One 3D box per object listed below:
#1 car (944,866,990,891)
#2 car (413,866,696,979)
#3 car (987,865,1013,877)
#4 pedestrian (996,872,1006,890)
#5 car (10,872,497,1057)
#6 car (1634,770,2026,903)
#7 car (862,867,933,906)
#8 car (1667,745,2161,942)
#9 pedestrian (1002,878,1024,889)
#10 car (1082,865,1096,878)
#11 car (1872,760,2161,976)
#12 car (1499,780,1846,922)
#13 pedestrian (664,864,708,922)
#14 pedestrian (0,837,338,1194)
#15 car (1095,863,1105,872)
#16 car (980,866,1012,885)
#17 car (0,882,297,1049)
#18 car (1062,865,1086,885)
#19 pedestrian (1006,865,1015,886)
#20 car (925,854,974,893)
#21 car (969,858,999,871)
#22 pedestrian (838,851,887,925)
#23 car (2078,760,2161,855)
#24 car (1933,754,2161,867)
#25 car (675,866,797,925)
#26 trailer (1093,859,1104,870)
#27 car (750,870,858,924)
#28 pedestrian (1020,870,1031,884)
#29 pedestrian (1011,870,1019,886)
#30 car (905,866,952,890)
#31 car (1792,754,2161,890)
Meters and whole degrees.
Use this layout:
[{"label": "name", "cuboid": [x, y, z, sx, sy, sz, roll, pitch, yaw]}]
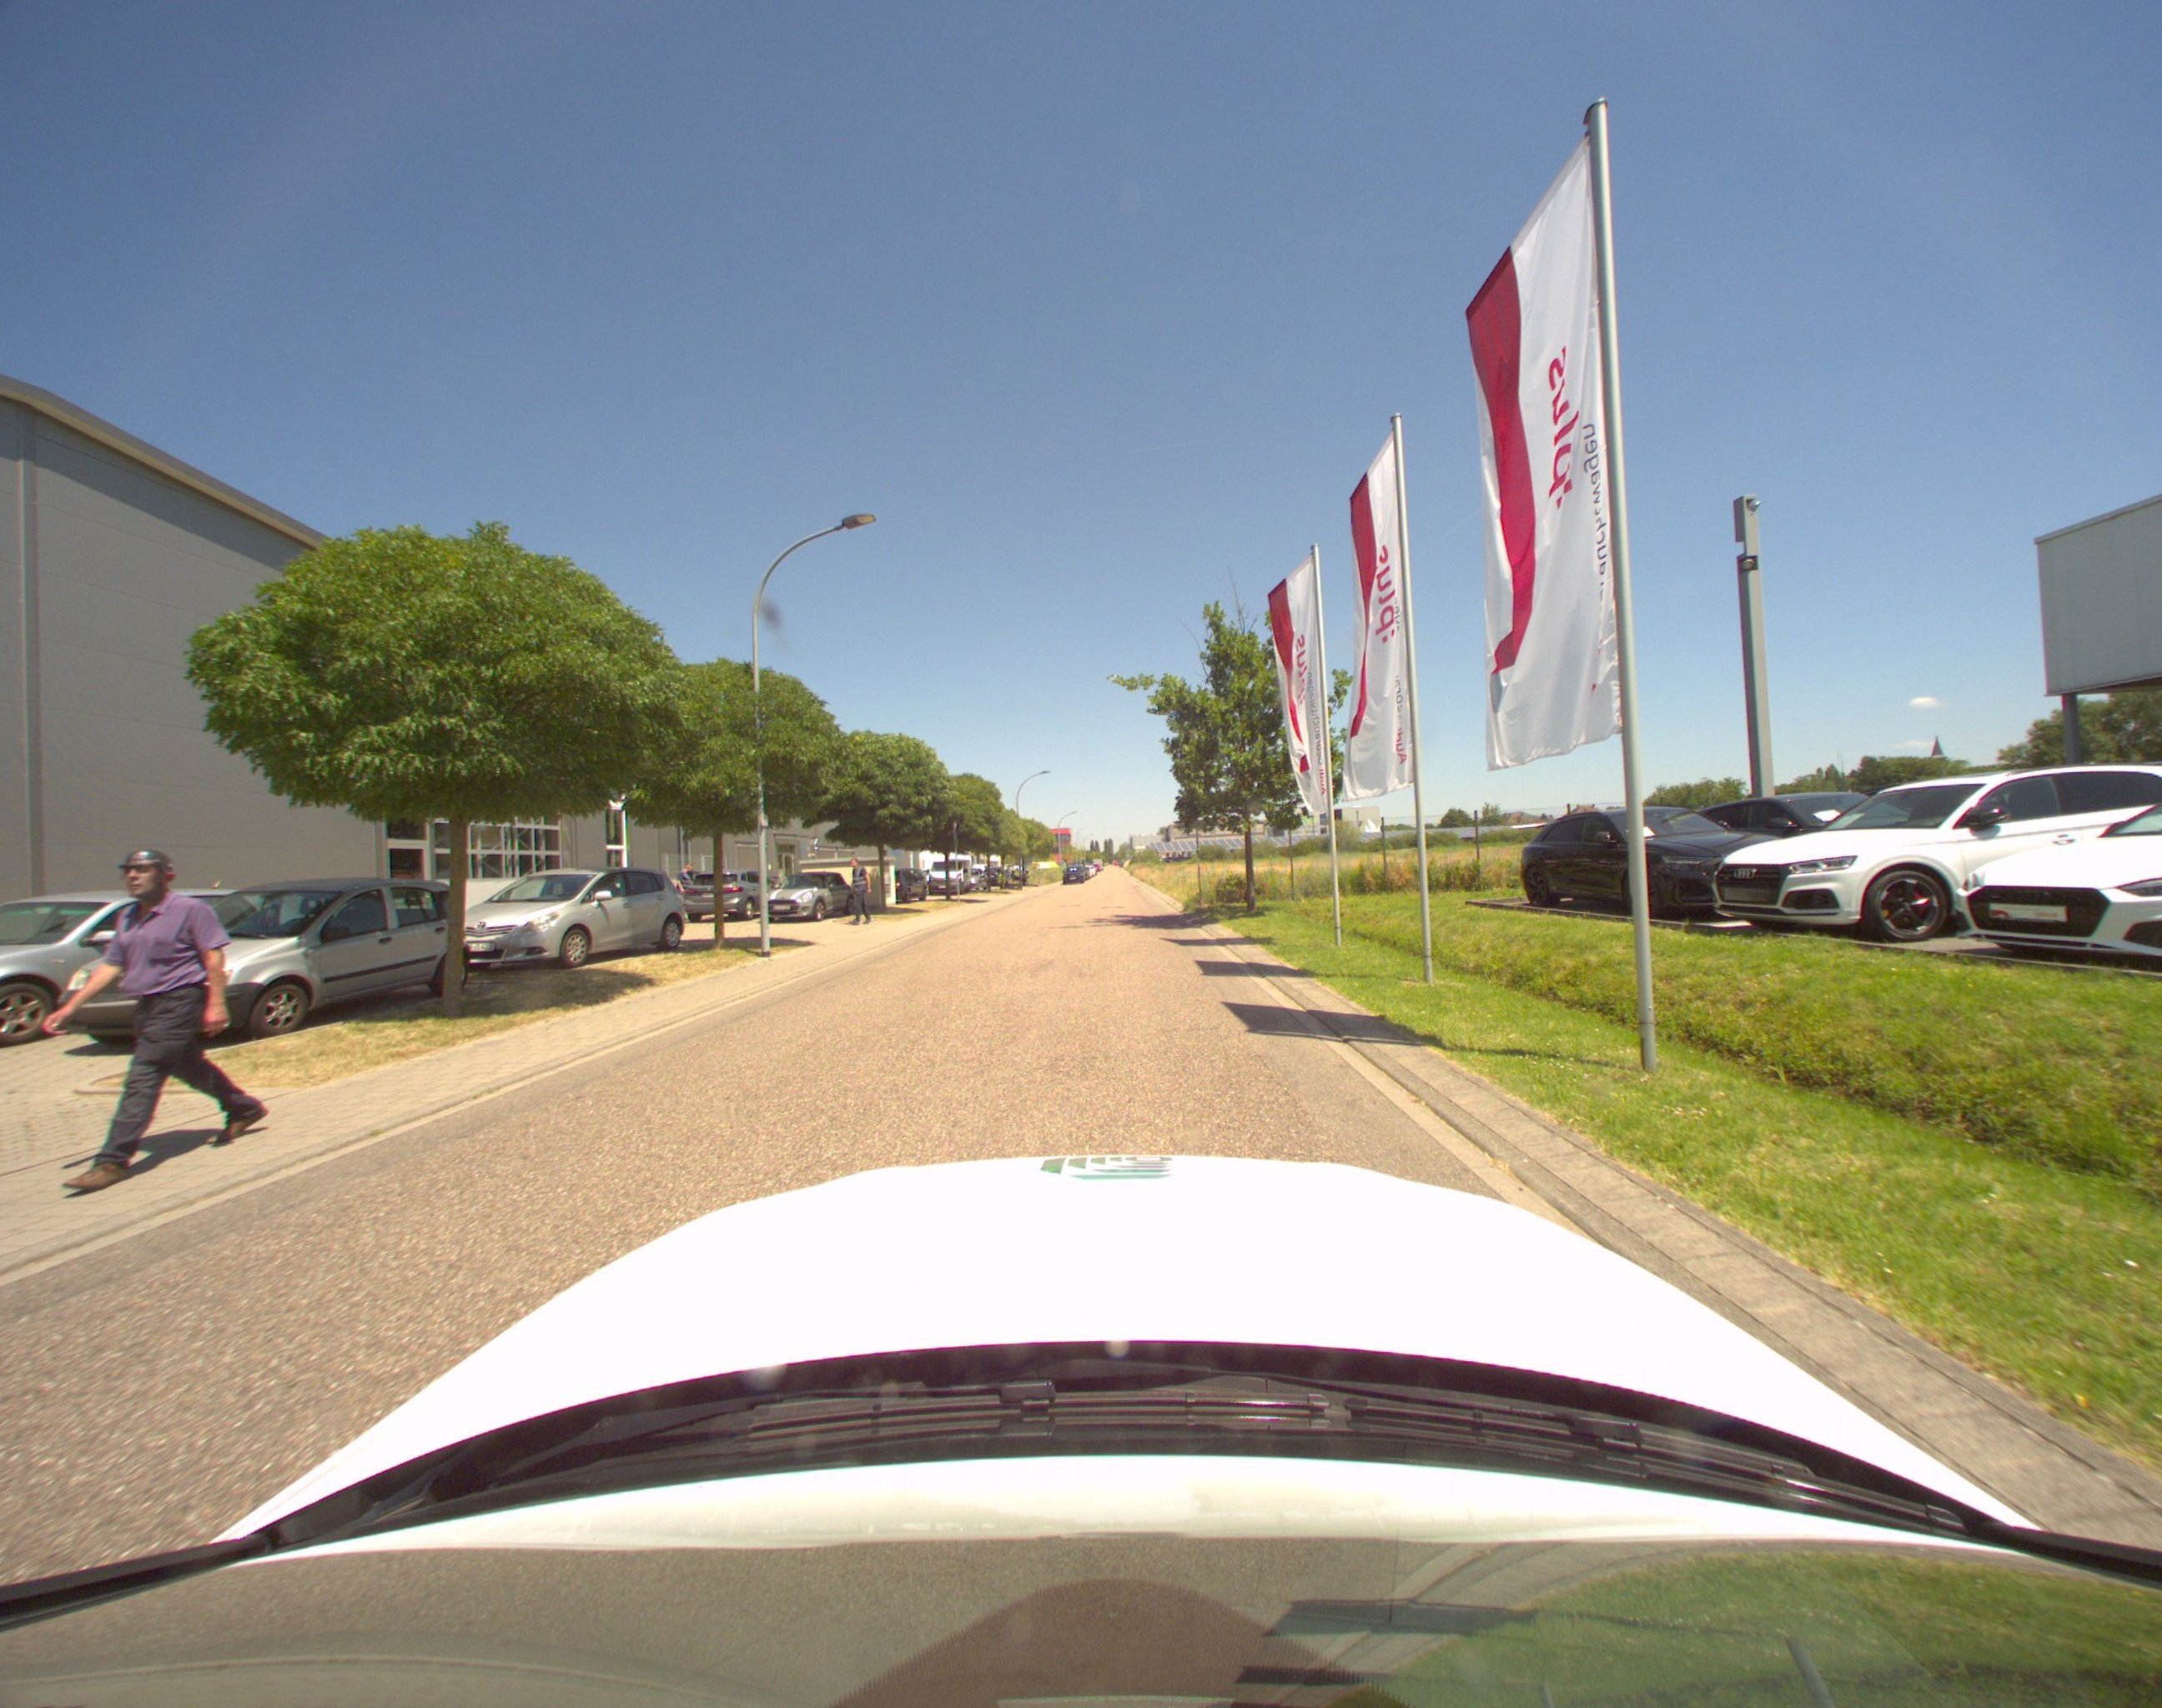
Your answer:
[{"label": "car", "cuboid": [-7.120, 1.545, 51.453, 1.919, 1.441, 4.844, -3, -2, 3]}, {"label": "car", "cuboid": [-8.712, 1.023, 14.082, 1.758, 1.573, 4.542, -1, -1, 3]}, {"label": "car", "cuboid": [-14.978, 3.152, 151.046, 4.510, 1.943, 2.033, -3, -1, 2]}, {"label": "pedestrian", "cuboid": [-5.123, 1.735, 52.028, 0.475, 1.150, 0.557, 0, -3, 12]}, {"label": "car", "cuboid": [-8.639, 1.018, 9.059, 1.678, 1.500, 3.701, -2, 0, -3]}, {"label": "car", "cuboid": [11.530, -0.217, 13.172, 2.016, 1.610, 4.813, -4, -1, 4]}, {"label": "car", "cuboid": [-7.797, 1.332, 35.126, 1.759, 1.453, 4.716, -3, -1, 2]}, {"label": "car", "cuboid": [9.546, -0.135, 9.063, 4.514, 1.692, 2.031, -4, -1, 0]}, {"label": "pedestrian", "cuboid": [-4.445, 1.943, 53.498, 1.352, 0.749, 0.754, 0, -1, 4]}, {"label": "car", "cuboid": [1.173, 2.414, 113.045, 1.780, 1.520, 3.984, -3, -1, 2]}, {"label": "car", "cuboid": [9.548, -0.063, 6.462, 4.514, 1.457, 2.031, -4, -1, 0]}, {"label": "car", "cuboid": [8.954, -0.018, 13.097, 2.016, 1.692, 5.113, -4, -1, 4]}, {"label": "pedestrian", "cuboid": [-12.199, 1.189, 25.185, 0.837, 1.713, 0.965, -1, -1, 2]}, {"label": "pedestrian", "cuboid": [-5.199, 0.820, 4.703, 0.741, 1.801, 1.136, -1, -1, 4]}, {"label": "car", "cuboid": [3.633, 2.559, 152.795, 1.780, 1.520, 3.984, -3, -1, 2]}, {"label": "car", "cuboid": [-6.678, 1.658, 64.162, 1.920, 1.465, 4.693, 0, -1, 1]}, {"label": "car", "cuboid": [-11.068, 1.117, 8.798, 1.678, 1.500, 3.701, -1, -1, -2]}, {"label": "car", "cuboid": [-0.568, 1.761, 69.992, 1.920, 1.567, 4.190, -3, -1, 1]}, {"label": "pedestrian", "cuboid": [-5.376, 1.609, 62.226, 0.503, 1.595, 0.754, 0, -1, 4]}, {"label": "car", "cuboid": [-7.322, 1.074, 45.918, 1.831, 2.019, 5.125, -2, -1, 0]}, {"label": "car", "cuboid": [-15.597, 1.698, 131.172, 4.510, 1.943, 2.033, -3, -1, 2]}, {"label": "pedestrian", "cuboid": [-5.957, 0.904, 22.181, 0.832, 1.972, 0.971, -2, -1, 42]}, {"label": "car", "cuboid": [19.739, -0.891, 12.919, 2.016, 1.654, 4.813, -4, -1, 4]}, {"label": "car", "cuboid": [17.168, -0.714, 13.077, 2.016, 1.679, 4.813, -4, -1, 4]}, {"label": "car", "cuboid": [-10.601, 1.225, 25.406, 1.728, 1.628, 4.352, -1, -1, 3]}, {"label": "trailer", "cuboid": [3.536, 2.144, 163.960, 2.192, 2.137, 4.287, -3, -1, 2]}, {"label": "car", "cuboid": [-8.333, 1.242, 24.832, 1.758, 1.453, 3.843, -1, -1, 3]}, {"label": "pedestrian", "cuboid": [-4.225, 1.758, 62.419, 0.746, 1.099, 0.647, 0, -1, 6]}, {"label": "pedestrian", "cuboid": [-5.189, 1.865, 63.658, 0.503, 1.191, 0.754, 0, -1, 4]}, {"label": "car", "cuboid": [-9.609, 1.488, 51.775, 1.919, 1.465, 4.468, 0, -1, 3]}, {"label": "car", "cuboid": [14.532, -0.446, 13.144, 2.016, 1.725, 4.813, -4, -1, 4]}]
